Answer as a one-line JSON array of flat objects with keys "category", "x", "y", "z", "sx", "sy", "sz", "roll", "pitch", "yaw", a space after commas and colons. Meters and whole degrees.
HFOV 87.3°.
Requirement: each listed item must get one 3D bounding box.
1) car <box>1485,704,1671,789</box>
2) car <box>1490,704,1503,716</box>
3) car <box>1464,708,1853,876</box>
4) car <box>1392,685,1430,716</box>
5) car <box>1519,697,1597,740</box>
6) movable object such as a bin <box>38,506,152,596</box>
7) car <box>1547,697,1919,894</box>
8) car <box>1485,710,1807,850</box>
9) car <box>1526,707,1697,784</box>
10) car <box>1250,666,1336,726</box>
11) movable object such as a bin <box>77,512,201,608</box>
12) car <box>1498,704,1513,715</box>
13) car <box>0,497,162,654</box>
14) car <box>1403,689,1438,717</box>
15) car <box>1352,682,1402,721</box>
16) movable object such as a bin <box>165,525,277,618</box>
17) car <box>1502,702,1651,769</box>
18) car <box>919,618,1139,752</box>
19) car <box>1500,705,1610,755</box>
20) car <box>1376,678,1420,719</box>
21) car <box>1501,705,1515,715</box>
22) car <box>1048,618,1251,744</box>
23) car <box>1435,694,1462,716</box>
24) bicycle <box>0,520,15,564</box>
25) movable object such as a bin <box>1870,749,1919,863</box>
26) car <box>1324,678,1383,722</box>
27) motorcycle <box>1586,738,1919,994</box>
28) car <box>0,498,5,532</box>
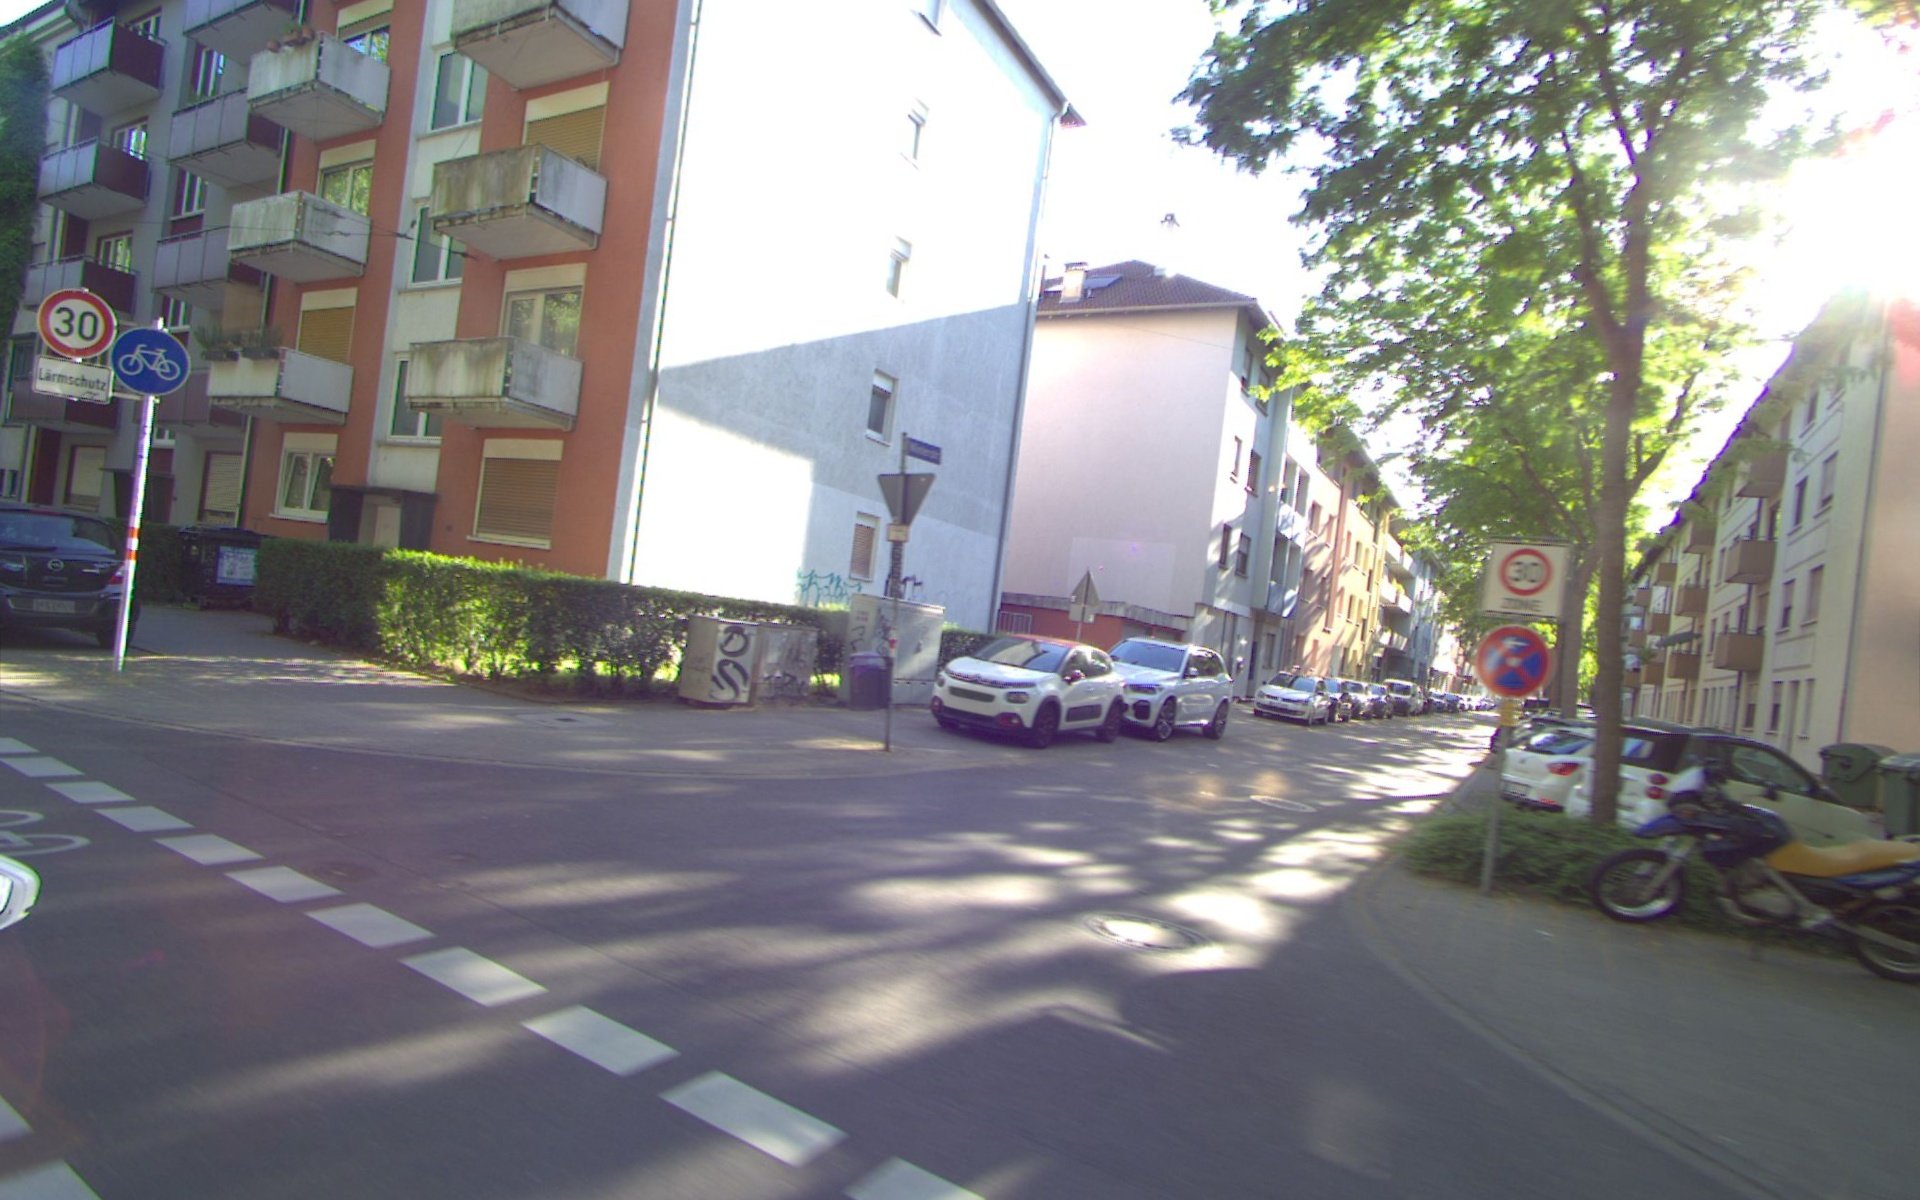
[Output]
[{"category": "car", "x": 15.316, "y": 3.602, "z": 25.118, "sx": 3.723, "sy": 1.457, "sz": 1.663, "roll": 6, "pitch": -3, "yaw": 32}, {"category": "car", "x": 82.374, "y": 16.914, "z": 154.462, "sx": 1.505, "sy": 1.506, "sz": 3.300, "roll": 7, "pitch": -2, "yaw": 32}, {"category": "car", "x": 9.193, "y": 2.504, "z": 13.476, "sx": 3.873, "sy": 1.478, "sz": 1.728, "roll": 8, "pitch": -1, "yaw": 0}, {"category": "car", "x": 25.746, "y": 5.759, "z": 57.366, "sx": 1.412, "sy": 1.506, "sz": 3.386, "roll": 7, "pitch": -2, "yaw": 32}, {"category": "car", "x": 35.100, "y": 6.938, "z": 59.145, "sx": 3.723, "sy": 1.936, "sz": 1.663, "roll": 6, "pitch": -2, "yaw": 32}, {"category": "movable object such as a bin", "x": -15.182, "y": -0.856, "z": 17.661, "sx": 1.654, "sy": 1.342, "sz": 0.925, "roll": 6, "pitch": -2, "yaw": 31}, {"category": "car", "x": 9.098, "y": 2.169, "z": 11.239, "sx": 3.926, "sy": 1.558, "sz": 1.728, "roll": 8, "pitch": -1, "yaw": 0}, {"category": "car", "x": 10.834, "y": 2.818, "z": 16.070, "sx": 3.873, "sy": 1.478, "sz": 1.667, "roll": 8, "pitch": -1, "yaw": 0}, {"category": "car", "x": 17.817, "y": 3.949, "z": 27.703, "sx": 3.723, "sy": 1.457, "sz": 1.663, "roll": 6, "pitch": -3, "yaw": 32}, {"category": "car", "x": 10.124, "y": 2.916, "z": 30.428, "sx": 1.557, "sy": 1.506, "sz": 3.386, "roll": 7, "pitch": -2, "yaw": 33}, {"category": "movable object such as a bin", "x": -13.678, "y": -0.669, "z": 16.754, "sx": 1.693, "sy": 1.342, "sz": 0.969, "roll": 6, "pitch": -2, "yaw": 31}, {"category": "car", "x": 86.633, "y": 17.337, "z": 159.691, "sx": 1.506, "sy": 1.506, "sz": 3.297, "roll": 7, "pitch": -2, "yaw": 36}, {"category": "car", "x": -10.752, "y": -0.393, "z": 11.094, "sx": 3.850, "sy": 1.480, "sz": 1.735, "roll": 7, "pitch": 1, "yaw": 31}, {"category": "car", "x": 28.688, "y": 6.430, "z": 62.613, "sx": 1.412, "sy": 1.506, "sz": 3.386, "roll": 7, "pitch": -2, "yaw": 32}, {"category": "car", "x": 18.884, "y": 4.613, "z": 45.495, "sx": 1.412, "sy": 1.506, "sz": 3.386, "roll": 7, "pitch": -2, "yaw": 32}, {"category": "movable object such as a bin", "x": -12.253, "y": -0.460, "z": 16.705, "sx": 0.762, "sy": 1.342, "sz": 1.155, "roll": 6, "pitch": -2, "yaw": 31}, {"category": "car", "x": 19.032, "y": 4.167, "z": 31.194, "sx": 3.723, "sy": 1.457, "sz": 1.663, "roll": 6, "pitch": -3, "yaw": 32}, {"category": "car", "x": 1.176, "y": 1.285, "z": 15.017, "sx": 1.534, "sy": 1.500, "sz": 3.923, "roll": 10, "pitch": 0, "yaw": 30}, {"category": "car", "x": 24.410, "y": 5.315, "z": 41.352, "sx": 3.723, "sy": 1.457, "sz": 1.663, "roll": 6, "pitch": -3, "yaw": 32}, {"category": "car", "x": 23.151, "y": 5.223, "z": 53.128, "sx": 1.412, "sy": 1.895, "sz": 3.386, "roll": 7, "pitch": -1, "yaw": 32}, {"category": "car", "x": 91.588, "y": 18.406, "z": 168.175, "sx": 1.507, "sy": 1.506, "sz": 3.295, "roll": 7, "pitch": -2, "yaw": 37}, {"category": "car", "x": 3.762, "y": 1.586, "z": 19.215, "sx": 1.972, "sy": 1.814, "sz": 4.728, "roll": 10, "pitch": 0, "yaw": 32}, {"category": "car", "x": 38.016, "y": 8.159, "z": 78.284, "sx": 1.412, "sy": 1.506, "sz": 3.386, "roll": 7, "pitch": -2, "yaw": 32}, {"category": "bicycle", "x": -23.771, "y": -1.474, "z": 23.850, "sx": 0.469, "sy": 1.042, "sz": 1.893, "roll": 7, "pitch": 0, "yaw": 36}, {"category": "movable object such as a bin", "x": 13.680, "y": 2.880, "z": 13.599, "sx": 1.354, "sy": 1.435, "sz": 2.546, "roll": 5, "pitch": -3, "yaw": 28}, {"category": "car", "x": 15.678, "y": 3.990, "z": 39.978, "sx": 1.412, "sy": 1.506, "sz": 3.386, "roll": 7, "pitch": -2, "yaw": 32}, {"category": "motorcycle", "x": 5.716, "y": 1.785, "z": 6.943, "sx": 2.223, "sy": 1.313, "sz": 0.678, "roll": 6, "pitch": -1, "yaw": 37}, {"category": "car", "x": -14.202, "y": -0.743, "z": 13.102, "sx": 3.690, "sy": 1.608, "sz": 1.529, "roll": 6, "pitch": -3, "yaw": 32}]
